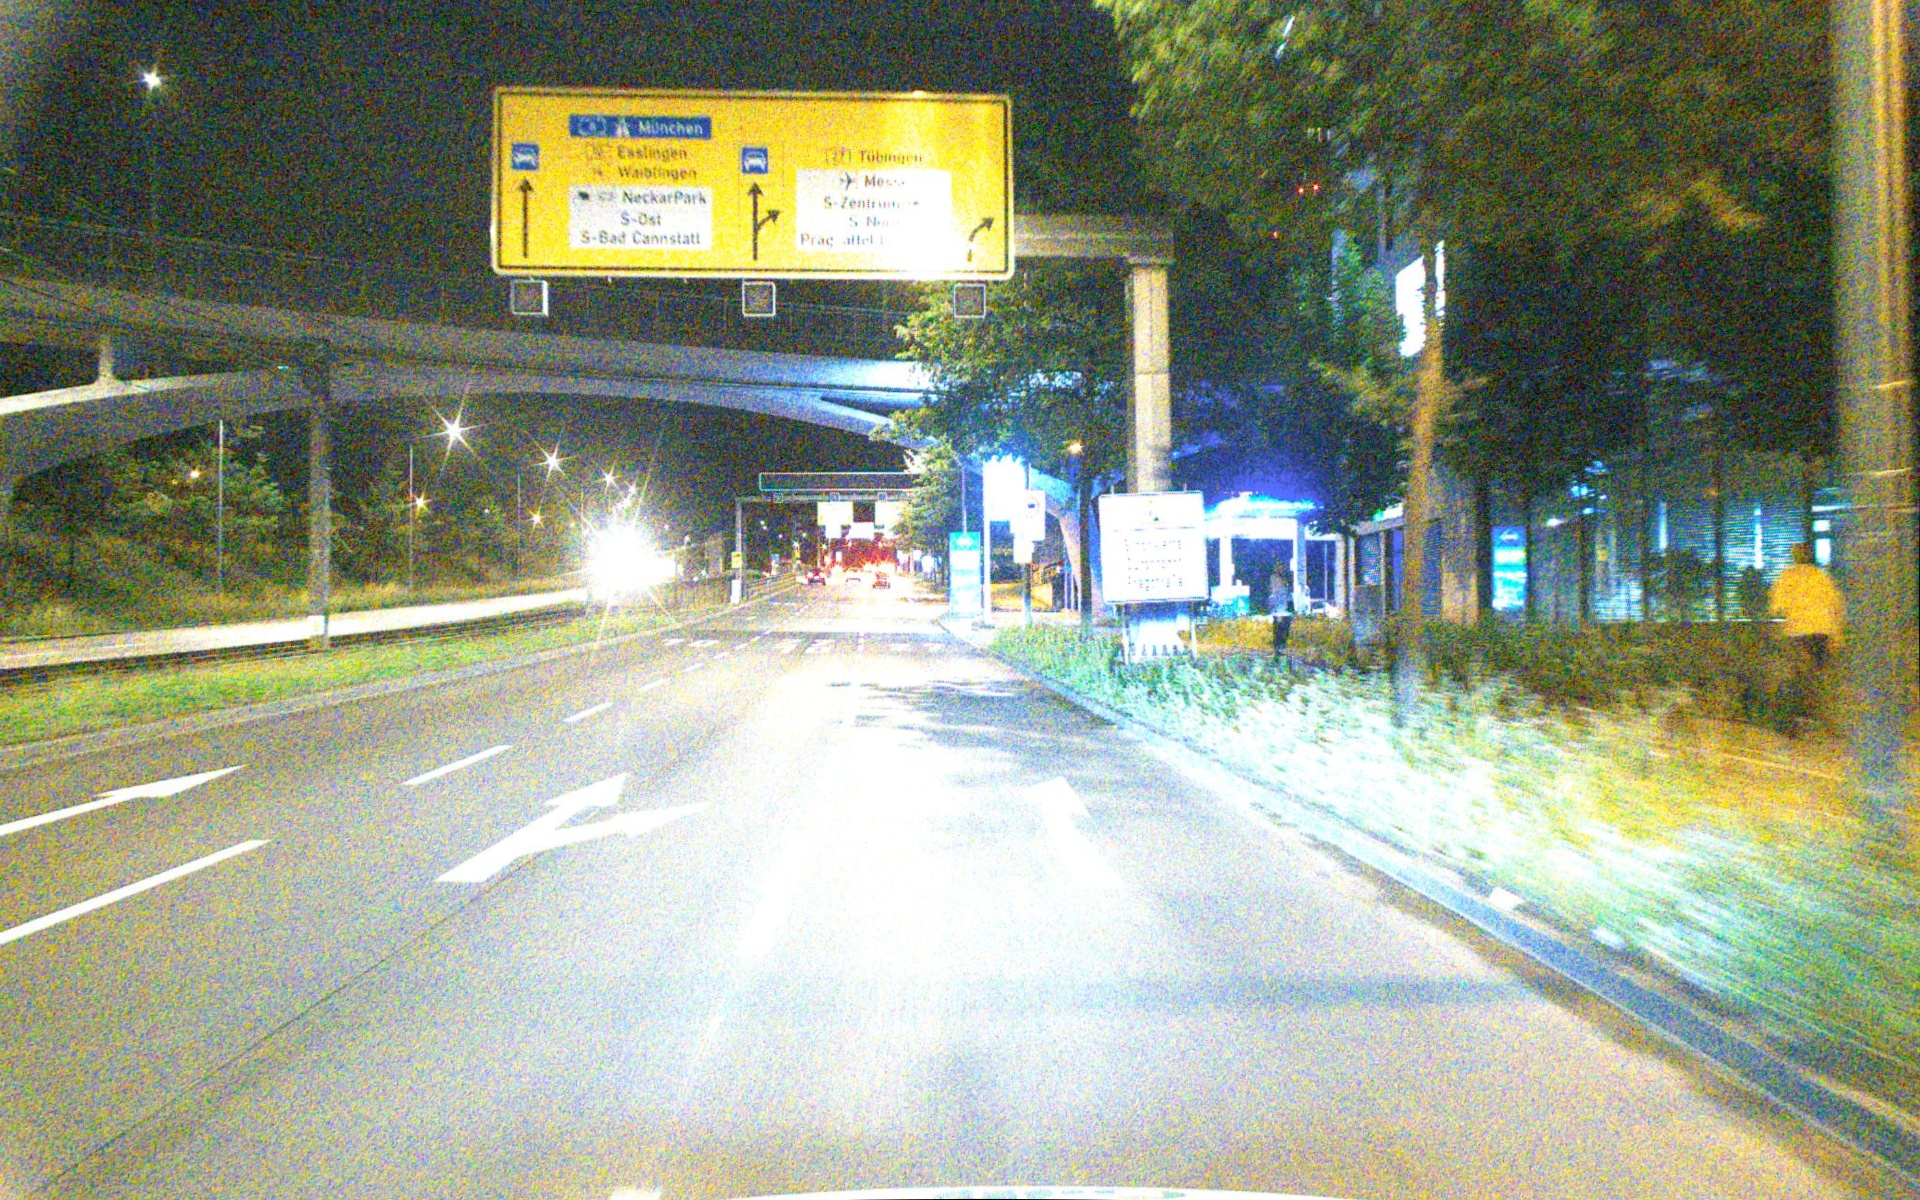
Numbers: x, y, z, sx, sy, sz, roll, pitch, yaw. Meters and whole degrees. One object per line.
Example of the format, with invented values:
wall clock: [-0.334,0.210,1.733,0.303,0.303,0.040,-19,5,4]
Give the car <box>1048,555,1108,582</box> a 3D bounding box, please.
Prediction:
car: [8.015,-2.130,112.581,3.907,1.598,1.738,-2,0,-2]

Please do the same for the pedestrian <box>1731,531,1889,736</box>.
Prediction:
pedestrian: [7.581,0.291,14.792,0.835,1.737,0.957,-2,0,-3]

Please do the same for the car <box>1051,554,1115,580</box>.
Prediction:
car: [8.181,-2.200,110.248,4.036,1.549,1.822,-2,-1,-2]

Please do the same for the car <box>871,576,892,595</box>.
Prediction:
car: [-7.570,-1.360,160.147,1.928,1.741,3.999,1,0,-1]

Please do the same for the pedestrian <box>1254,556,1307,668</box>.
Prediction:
pedestrian: [5.759,0.213,29.775,0.787,1.946,0.794,-3,0,6]

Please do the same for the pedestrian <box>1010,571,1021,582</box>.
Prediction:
pedestrian: [5.567,-2.342,165.669,0.897,1.056,0.767,-1,0,40]

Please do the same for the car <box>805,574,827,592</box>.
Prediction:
car: [-14.590,-1.713,168.188,1.928,1.741,3.999,1,0,-1]

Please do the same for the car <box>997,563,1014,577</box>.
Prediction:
car: [5.375,-3.558,194.859,1.853,1.538,3.638,1,0,3]

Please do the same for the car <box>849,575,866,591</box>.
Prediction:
car: [-12.005,-1.970,194.178,1.746,1.741,3.999,1,0,-1]

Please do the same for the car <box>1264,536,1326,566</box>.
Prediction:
car: [22.506,-3.271,111.160,3.736,1.928,1.750,-1,0,-7]
